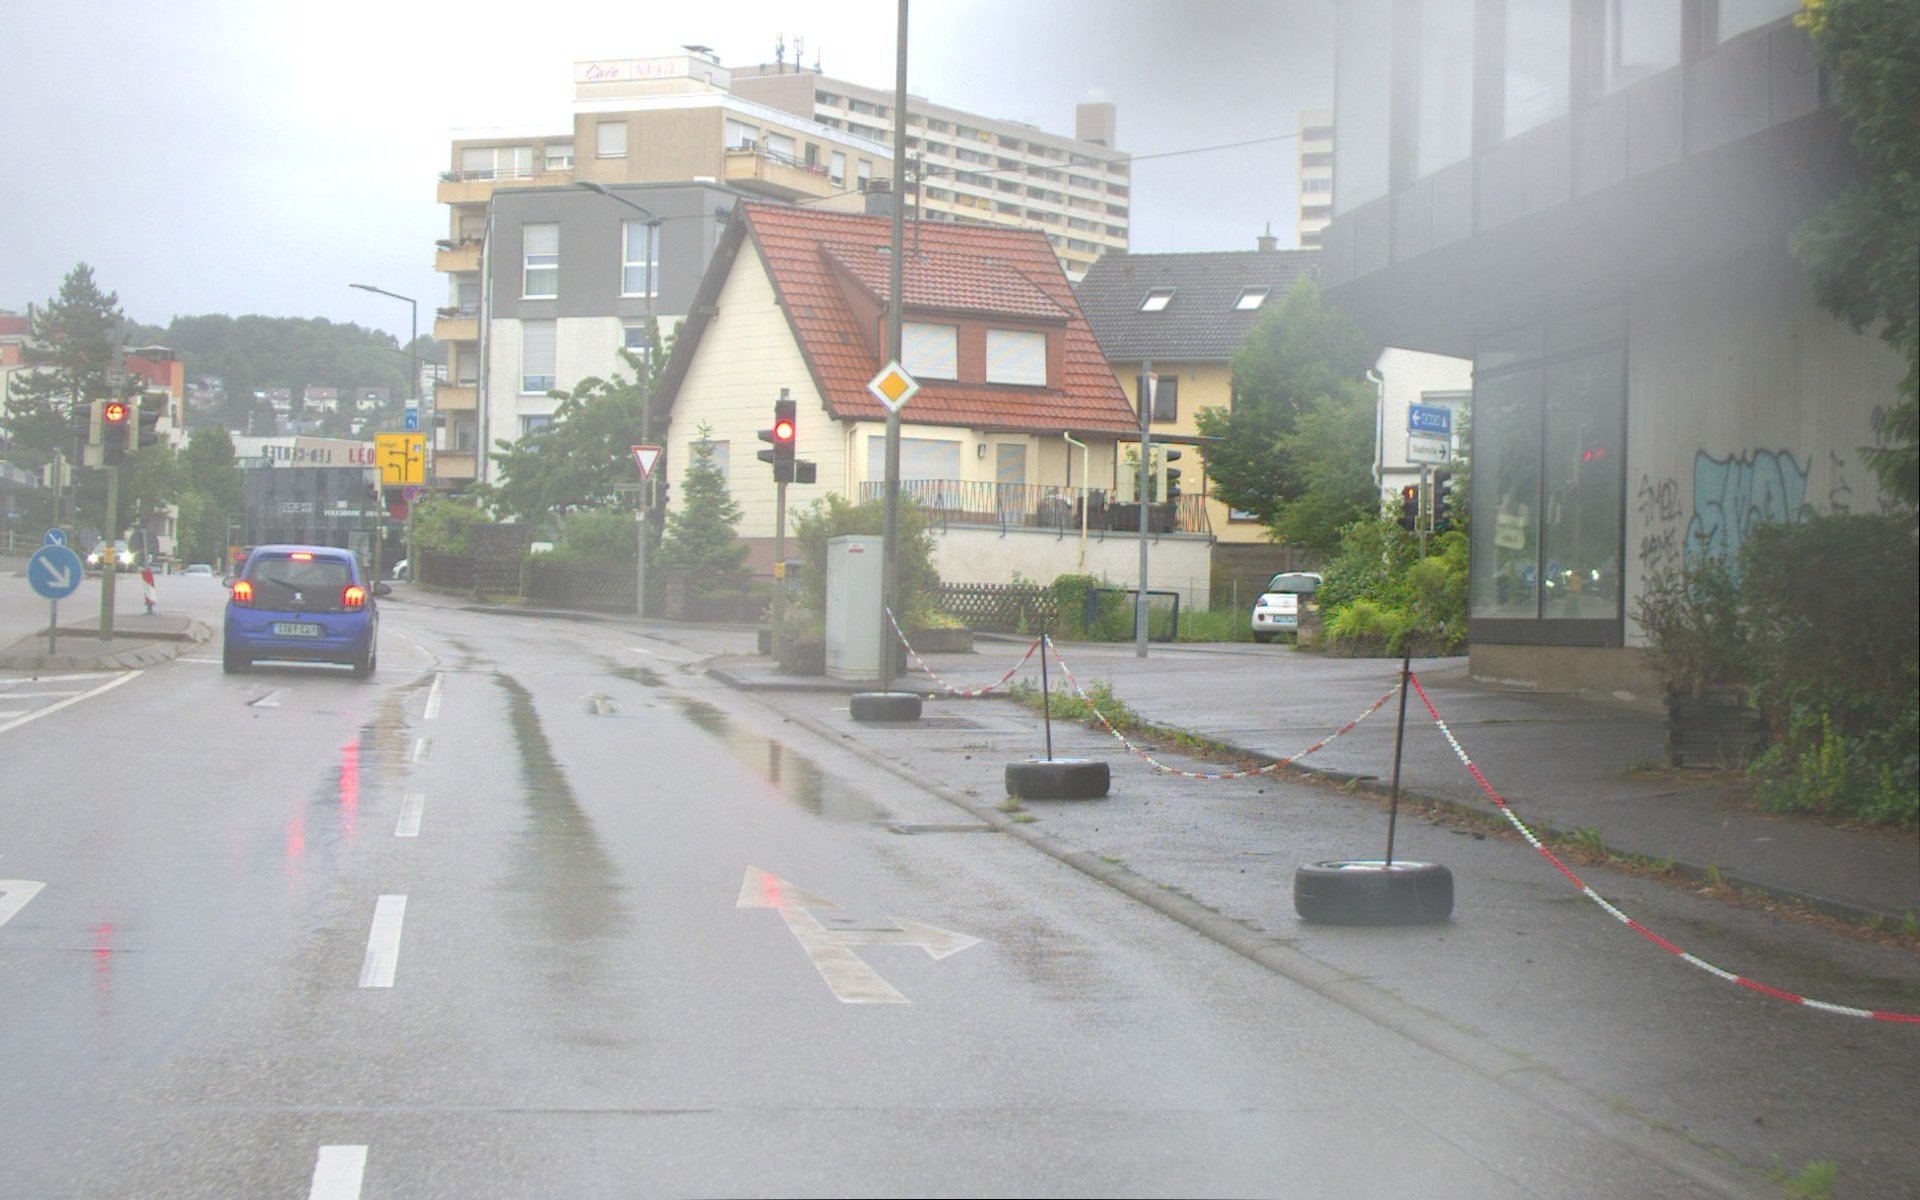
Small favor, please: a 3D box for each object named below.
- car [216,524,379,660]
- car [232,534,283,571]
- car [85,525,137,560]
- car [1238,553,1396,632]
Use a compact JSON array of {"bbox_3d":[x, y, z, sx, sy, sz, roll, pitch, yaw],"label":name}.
[{"bbox_3d":[-7.481,-0.112,39.023,1.578,1.406,3.271,3,1,-8],"label":"car"},{"bbox_3d":[-29.769,-2.014,145.750,1.812,1.481,4.190,1,1,-7],"label":"car"},{"bbox_3d":[-36.479,-2.481,147.766,1.778,1.415,3.832,2,1,-8],"label":"car"},{"bbox_3d":[7.365,-0.141,70.618,1.742,1.509,3.993,3,1,29],"label":"car"}]
